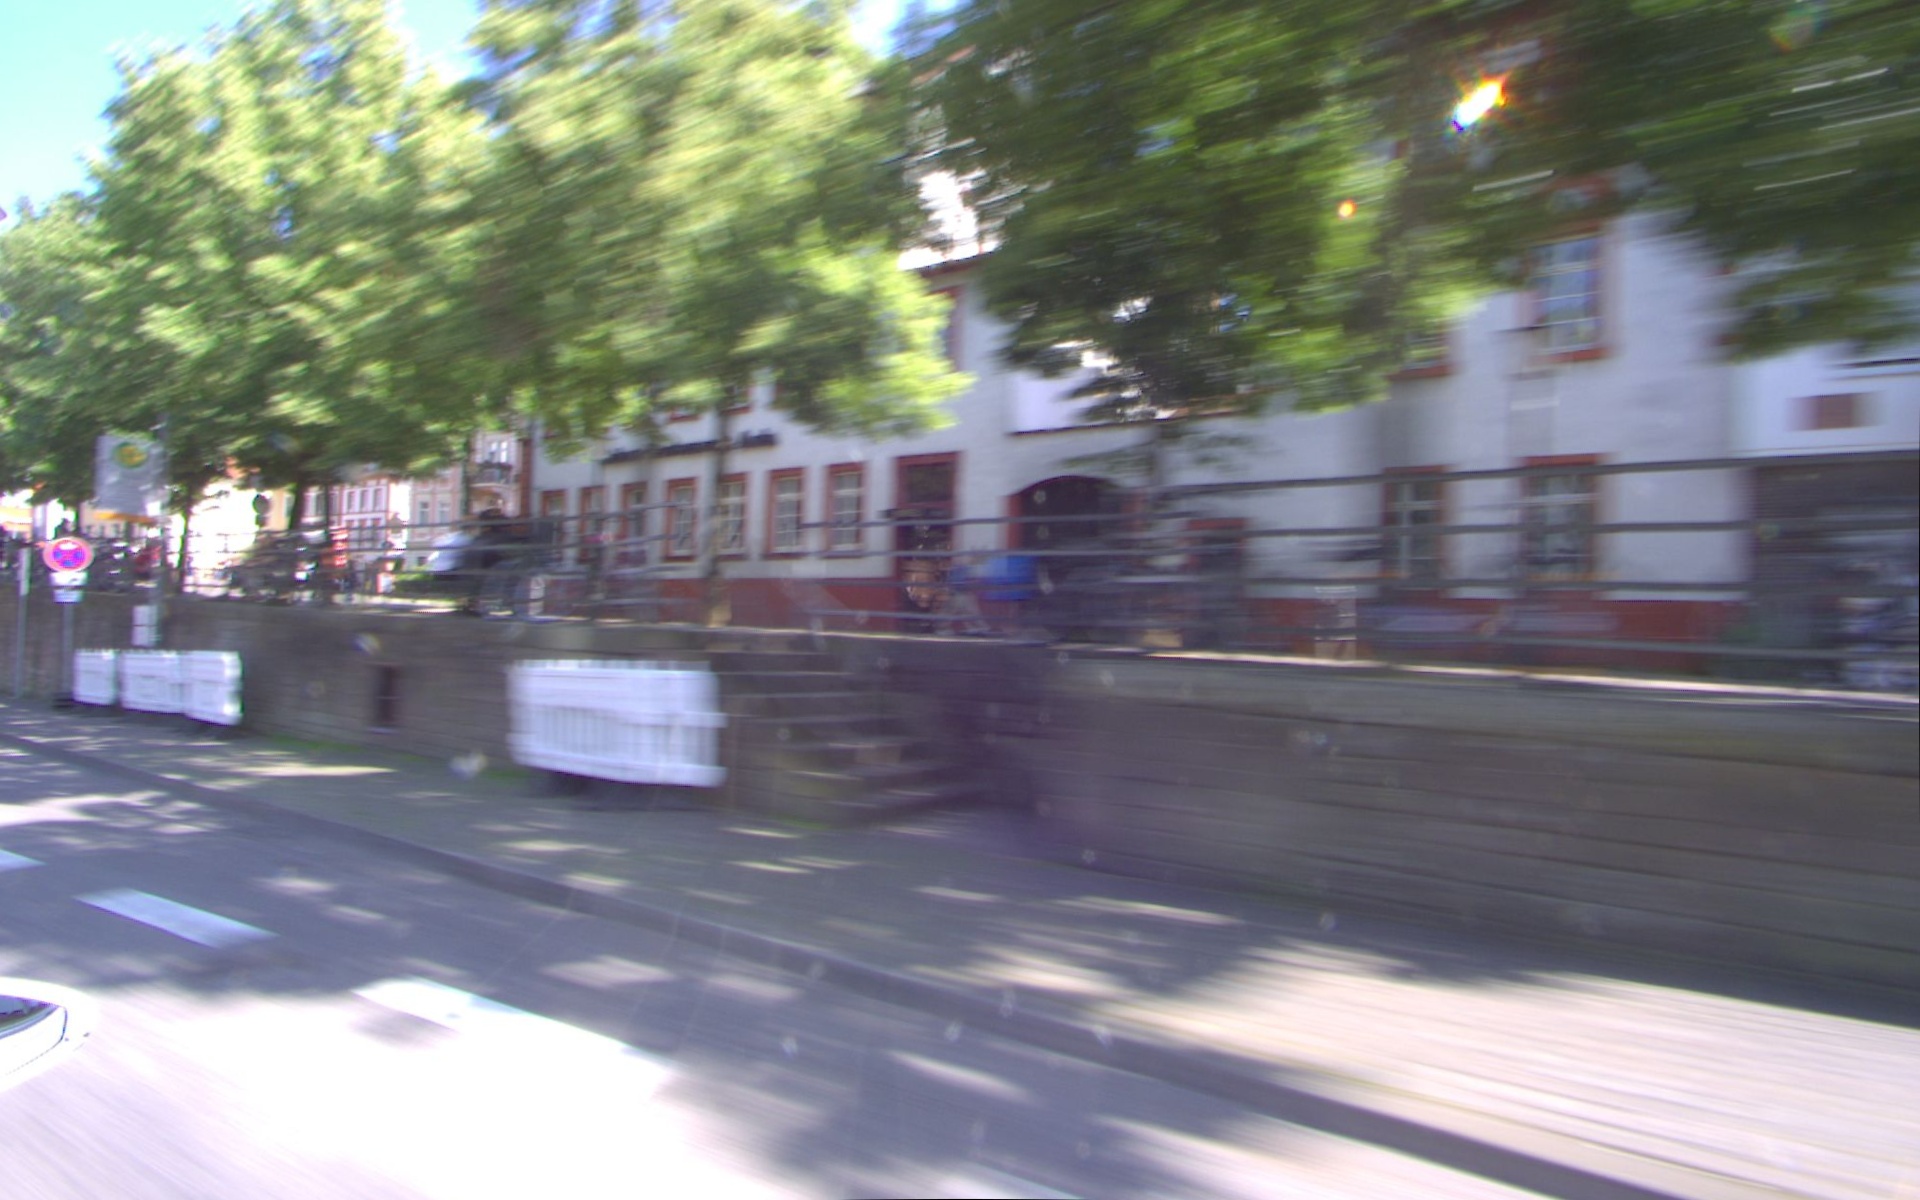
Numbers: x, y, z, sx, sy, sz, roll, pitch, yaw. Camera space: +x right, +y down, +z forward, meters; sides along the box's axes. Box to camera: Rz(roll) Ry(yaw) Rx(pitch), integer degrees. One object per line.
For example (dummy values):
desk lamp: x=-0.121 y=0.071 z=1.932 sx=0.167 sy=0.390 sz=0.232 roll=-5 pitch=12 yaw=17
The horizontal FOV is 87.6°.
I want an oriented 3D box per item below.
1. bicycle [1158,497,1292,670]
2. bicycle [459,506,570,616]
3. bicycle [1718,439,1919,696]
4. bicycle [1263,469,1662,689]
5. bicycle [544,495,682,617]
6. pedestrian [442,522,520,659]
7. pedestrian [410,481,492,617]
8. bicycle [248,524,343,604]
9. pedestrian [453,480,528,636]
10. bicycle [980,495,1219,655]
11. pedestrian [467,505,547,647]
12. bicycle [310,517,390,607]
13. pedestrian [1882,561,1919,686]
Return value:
bicycle: x=1.837 y=-0.066 z=6.756 sx=0.295 sy=1.017 sz=1.850 roll=1 pitch=-1 yaw=33
bicycle: x=-4.900 y=-0.387 z=10.957 sx=1.714 sy=1.120 sz=0.408 roll=0 pitch=-2 yaw=41
bicycle: x=4.157 y=-0.121 z=3.878 sx=1.915 sy=1.017 sz=0.297 roll=1 pitch=-1 yaw=35
bicycle: x=2.566 y=-0.101 z=5.280 sx=1.834 sy=1.017 sz=0.297 roll=1 pitch=-1 yaw=35
bicycle: x=-3.508 y=-0.394 z=10.034 sx=1.902 sy=1.120 sz=0.408 roll=0 pitch=-2 yaw=41
pedestrian: x=-6.273 y=-0.105 z=13.130 sx=0.565 sy=1.743 sz=0.716 roll=0 pitch=-1 yaw=36
pedestrian: x=-6.814 y=-0.649 z=13.417 sx=0.702 sy=1.743 sz=0.716 roll=0 pitch=-1 yaw=36
bicycle: x=-9.714 y=-0.501 z=14.621 sx=1.708 sy=1.120 sz=0.409 roll=0 pitch=-1 yaw=29
pedestrian: x=-6.919 y=-0.587 z=14.757 sx=0.702 sy=2.217 sz=0.716 roll=0 pitch=-1 yaw=36
bicycle: x=1.065 y=-0.183 z=7.975 sx=1.907 sy=1.155 sz=0.381 roll=1 pitch=-1 yaw=35
pedestrian: x=-5.771 y=-0.279 z=12.770 sx=0.565 sy=1.743 sz=0.716 roll=0 pitch=-1 yaw=36
bicycle: x=-8.184 y=-0.482 z=13.408 sx=1.714 sy=1.120 sz=0.408 roll=0 pitch=-1 yaw=41
pedestrian: x=11.500 y=0.296 z=12.227 sx=0.322 sy=1.502 sz=0.343 roll=0 pitch=-3 yaw=38
